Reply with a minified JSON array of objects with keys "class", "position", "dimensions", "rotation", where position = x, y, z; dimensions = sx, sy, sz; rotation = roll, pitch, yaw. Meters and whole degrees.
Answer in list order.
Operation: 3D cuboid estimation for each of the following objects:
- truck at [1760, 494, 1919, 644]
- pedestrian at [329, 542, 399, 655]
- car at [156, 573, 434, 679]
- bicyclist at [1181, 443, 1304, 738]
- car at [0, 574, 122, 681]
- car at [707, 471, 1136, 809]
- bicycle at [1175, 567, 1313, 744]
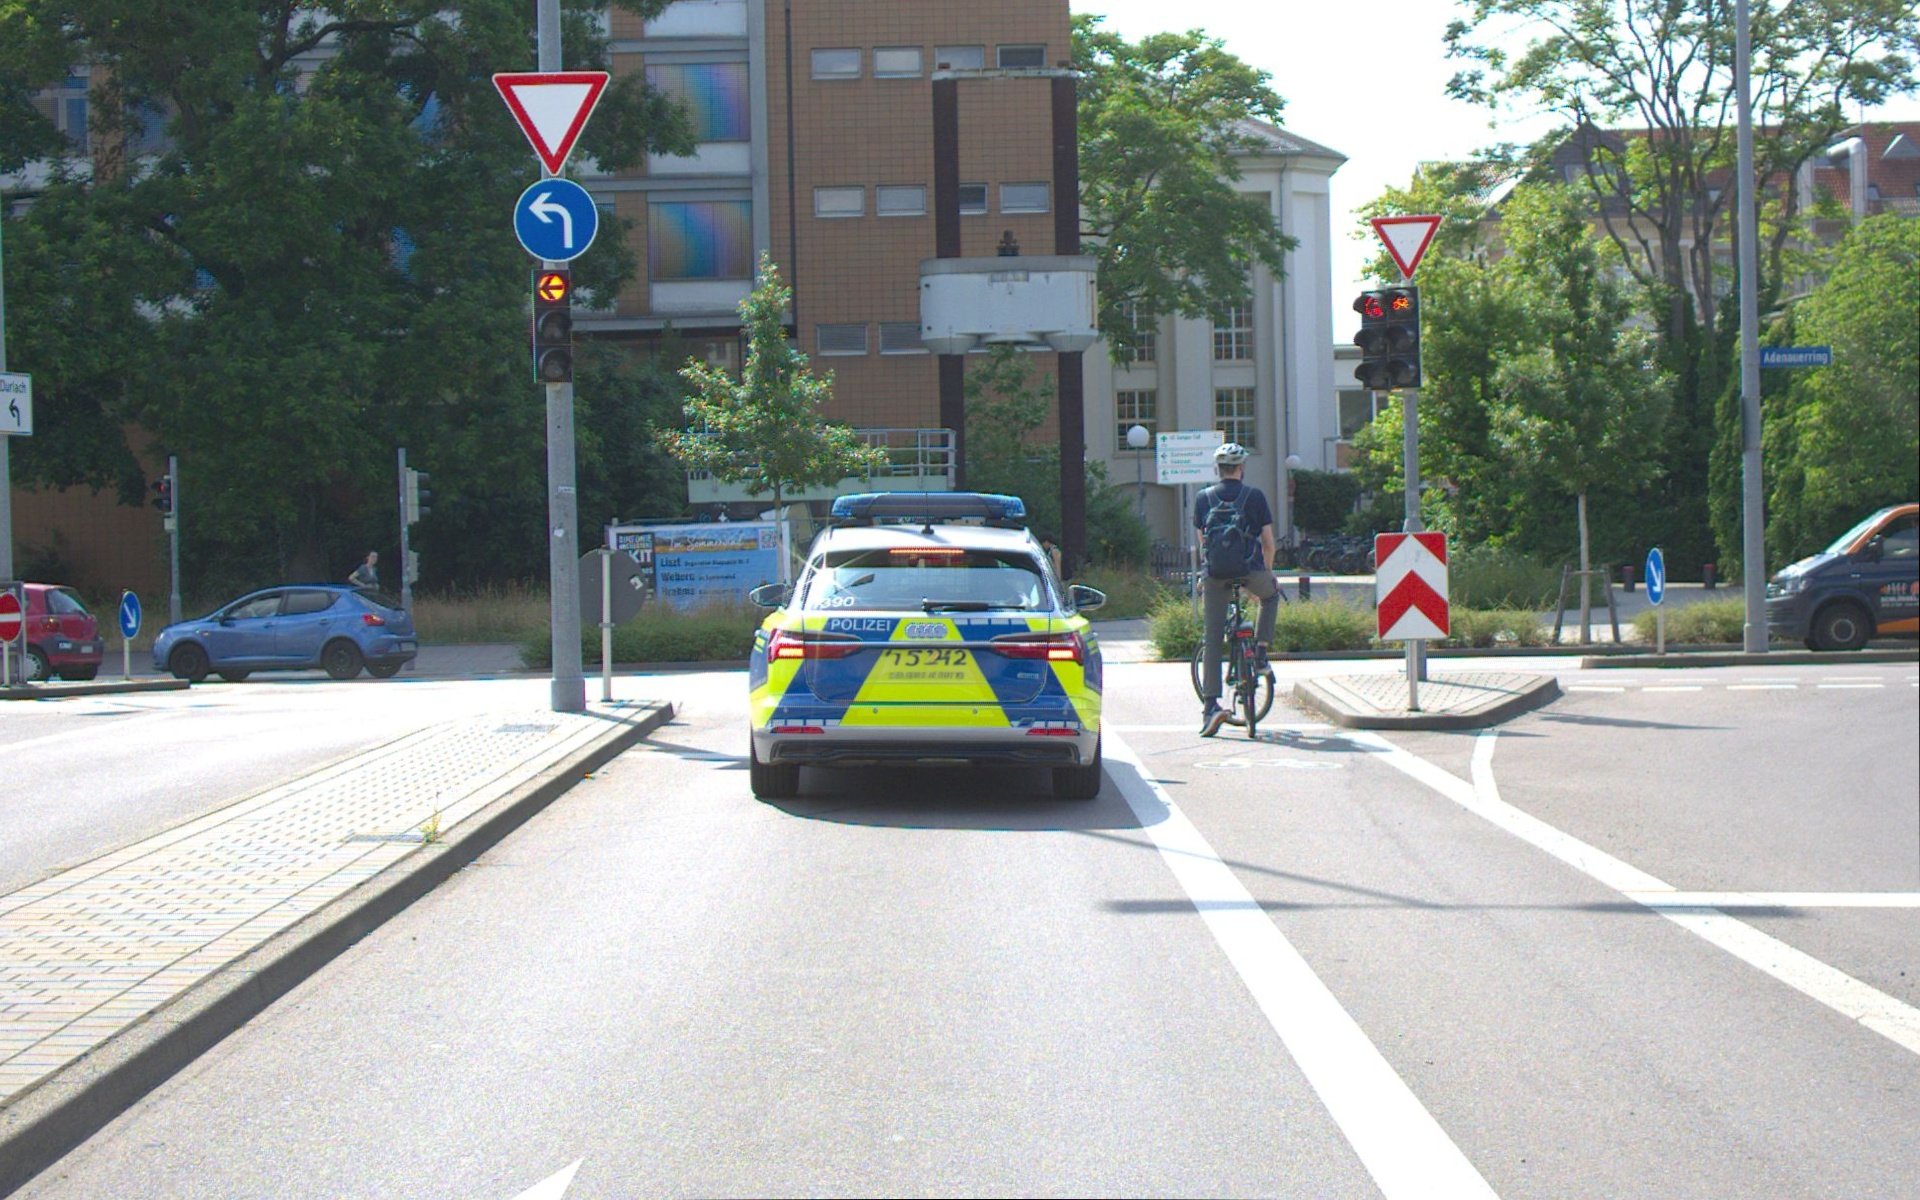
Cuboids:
[{"class":"truck","position":[12.914,-0.455,43.739],"dimensions":[5.117,1.831,1.999],"rotation":[-1,1,8]},{"class":"pedestrian","position":[-10.111,-0.033,58.353],"dimensions":[0.943,1.876,0.908],"rotation":[-2,1,3]},{"class":"car","position":[-9.954,0.380,51.546],"dimensions":[3.725,1.451,1.625],"rotation":[-1,1,12]},{"class":"bicyclist","position":[1.933,-0.081,23.601],"dimensions":[0.718,1.966,0.839],"rotation":[-2,2,-1]},{"class":"car","position":[-14.176,0.416,49.520],"dimensions":[3.725,1.451,1.625],"rotation":[-1,1,12]},{"class":"car","position":[-0.217,0.152,19.196],"dimensions":[2.130,1.678,4.103],"rotation":[0,1,-1]},{"class":"bicycle","position":[1.944,0.359,23.794],"dimensions":[0.720,1.080,2.191],"rotation":[-2,2,-1]}]
